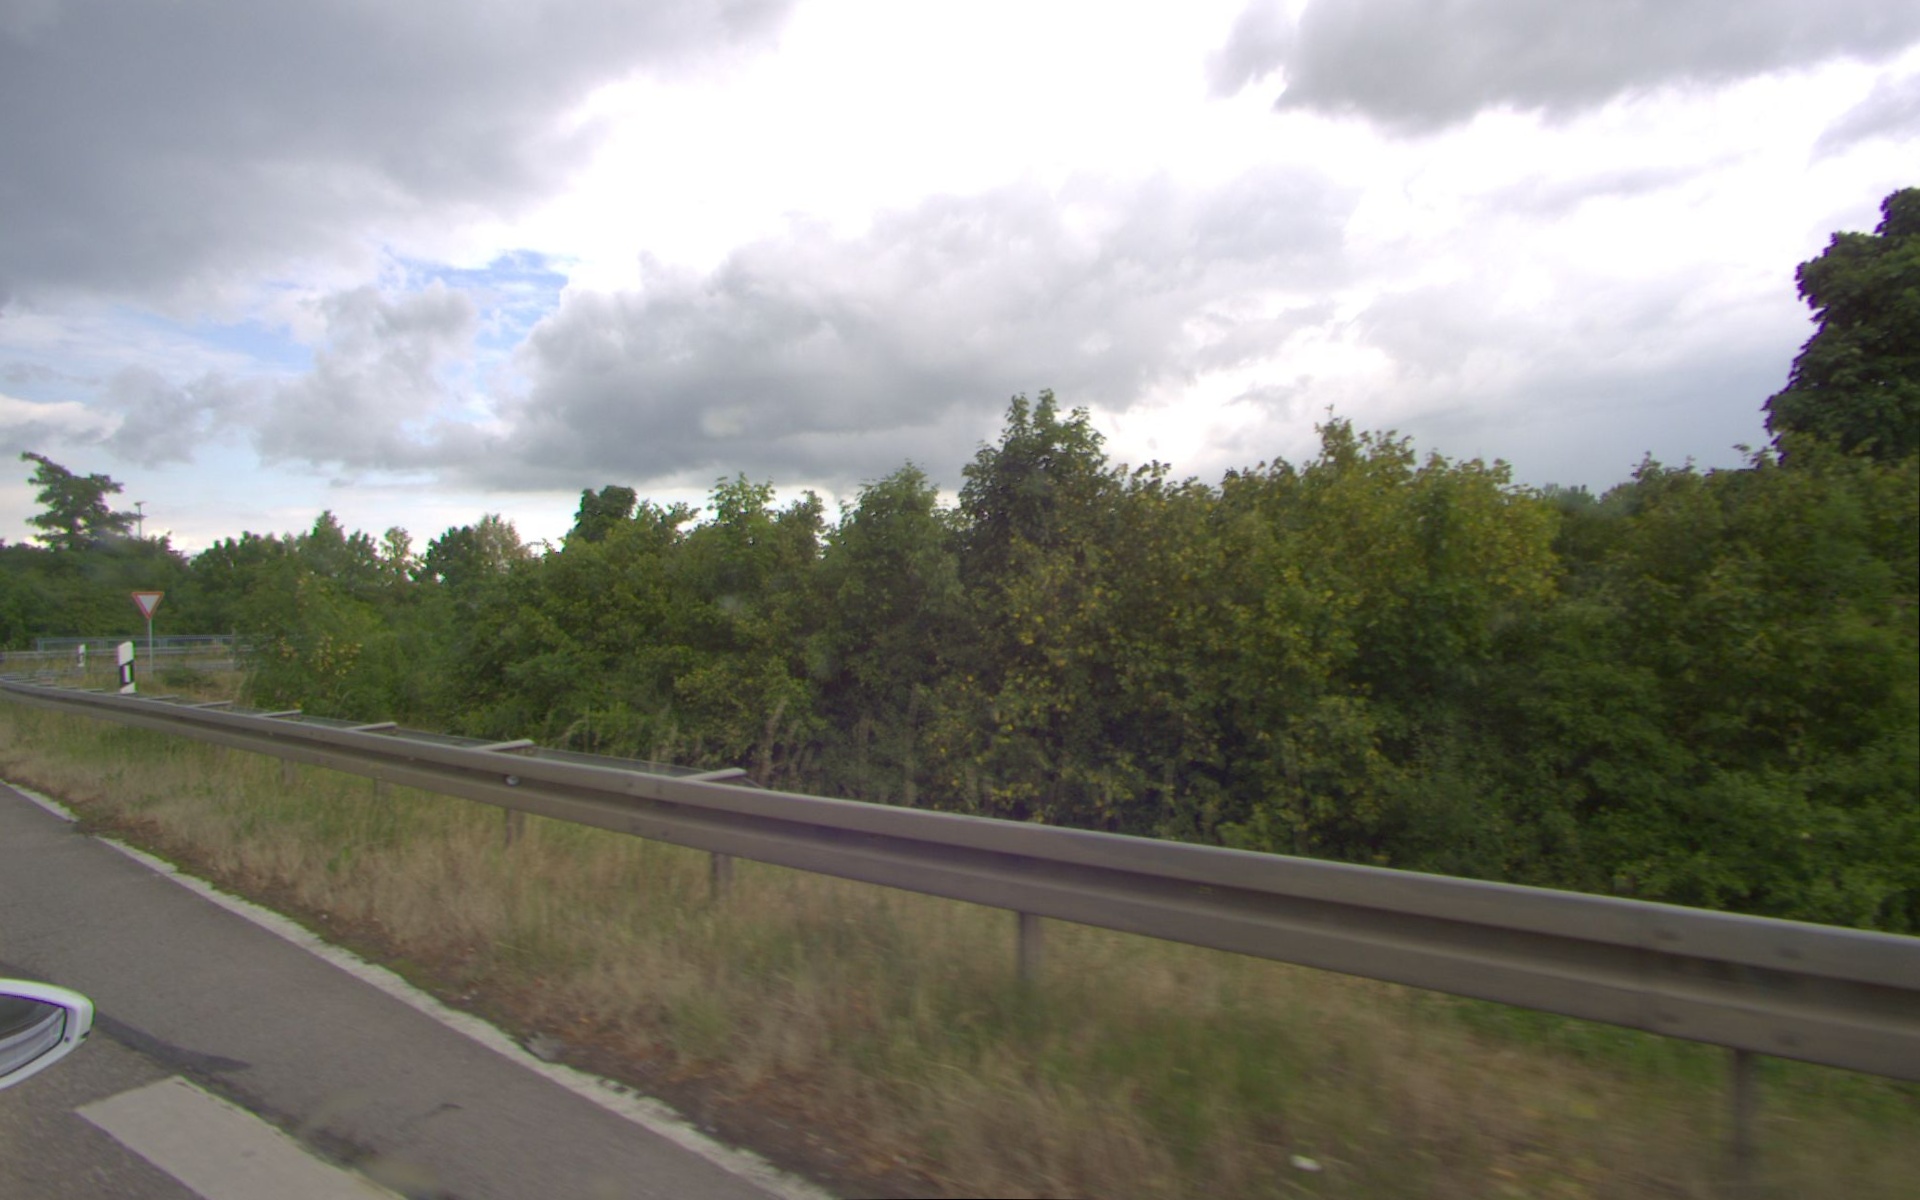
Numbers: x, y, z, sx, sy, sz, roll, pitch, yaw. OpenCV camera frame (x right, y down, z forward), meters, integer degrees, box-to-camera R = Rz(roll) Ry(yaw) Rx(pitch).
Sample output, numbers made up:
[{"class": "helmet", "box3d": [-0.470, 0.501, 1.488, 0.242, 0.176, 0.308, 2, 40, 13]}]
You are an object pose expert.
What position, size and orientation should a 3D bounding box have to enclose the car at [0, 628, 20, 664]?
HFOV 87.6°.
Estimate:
[{"class": "car", "box3d": [-38.351, 1.734, 37.494, 4.532, 1.350, 1.687, 2, -2, -42]}]
